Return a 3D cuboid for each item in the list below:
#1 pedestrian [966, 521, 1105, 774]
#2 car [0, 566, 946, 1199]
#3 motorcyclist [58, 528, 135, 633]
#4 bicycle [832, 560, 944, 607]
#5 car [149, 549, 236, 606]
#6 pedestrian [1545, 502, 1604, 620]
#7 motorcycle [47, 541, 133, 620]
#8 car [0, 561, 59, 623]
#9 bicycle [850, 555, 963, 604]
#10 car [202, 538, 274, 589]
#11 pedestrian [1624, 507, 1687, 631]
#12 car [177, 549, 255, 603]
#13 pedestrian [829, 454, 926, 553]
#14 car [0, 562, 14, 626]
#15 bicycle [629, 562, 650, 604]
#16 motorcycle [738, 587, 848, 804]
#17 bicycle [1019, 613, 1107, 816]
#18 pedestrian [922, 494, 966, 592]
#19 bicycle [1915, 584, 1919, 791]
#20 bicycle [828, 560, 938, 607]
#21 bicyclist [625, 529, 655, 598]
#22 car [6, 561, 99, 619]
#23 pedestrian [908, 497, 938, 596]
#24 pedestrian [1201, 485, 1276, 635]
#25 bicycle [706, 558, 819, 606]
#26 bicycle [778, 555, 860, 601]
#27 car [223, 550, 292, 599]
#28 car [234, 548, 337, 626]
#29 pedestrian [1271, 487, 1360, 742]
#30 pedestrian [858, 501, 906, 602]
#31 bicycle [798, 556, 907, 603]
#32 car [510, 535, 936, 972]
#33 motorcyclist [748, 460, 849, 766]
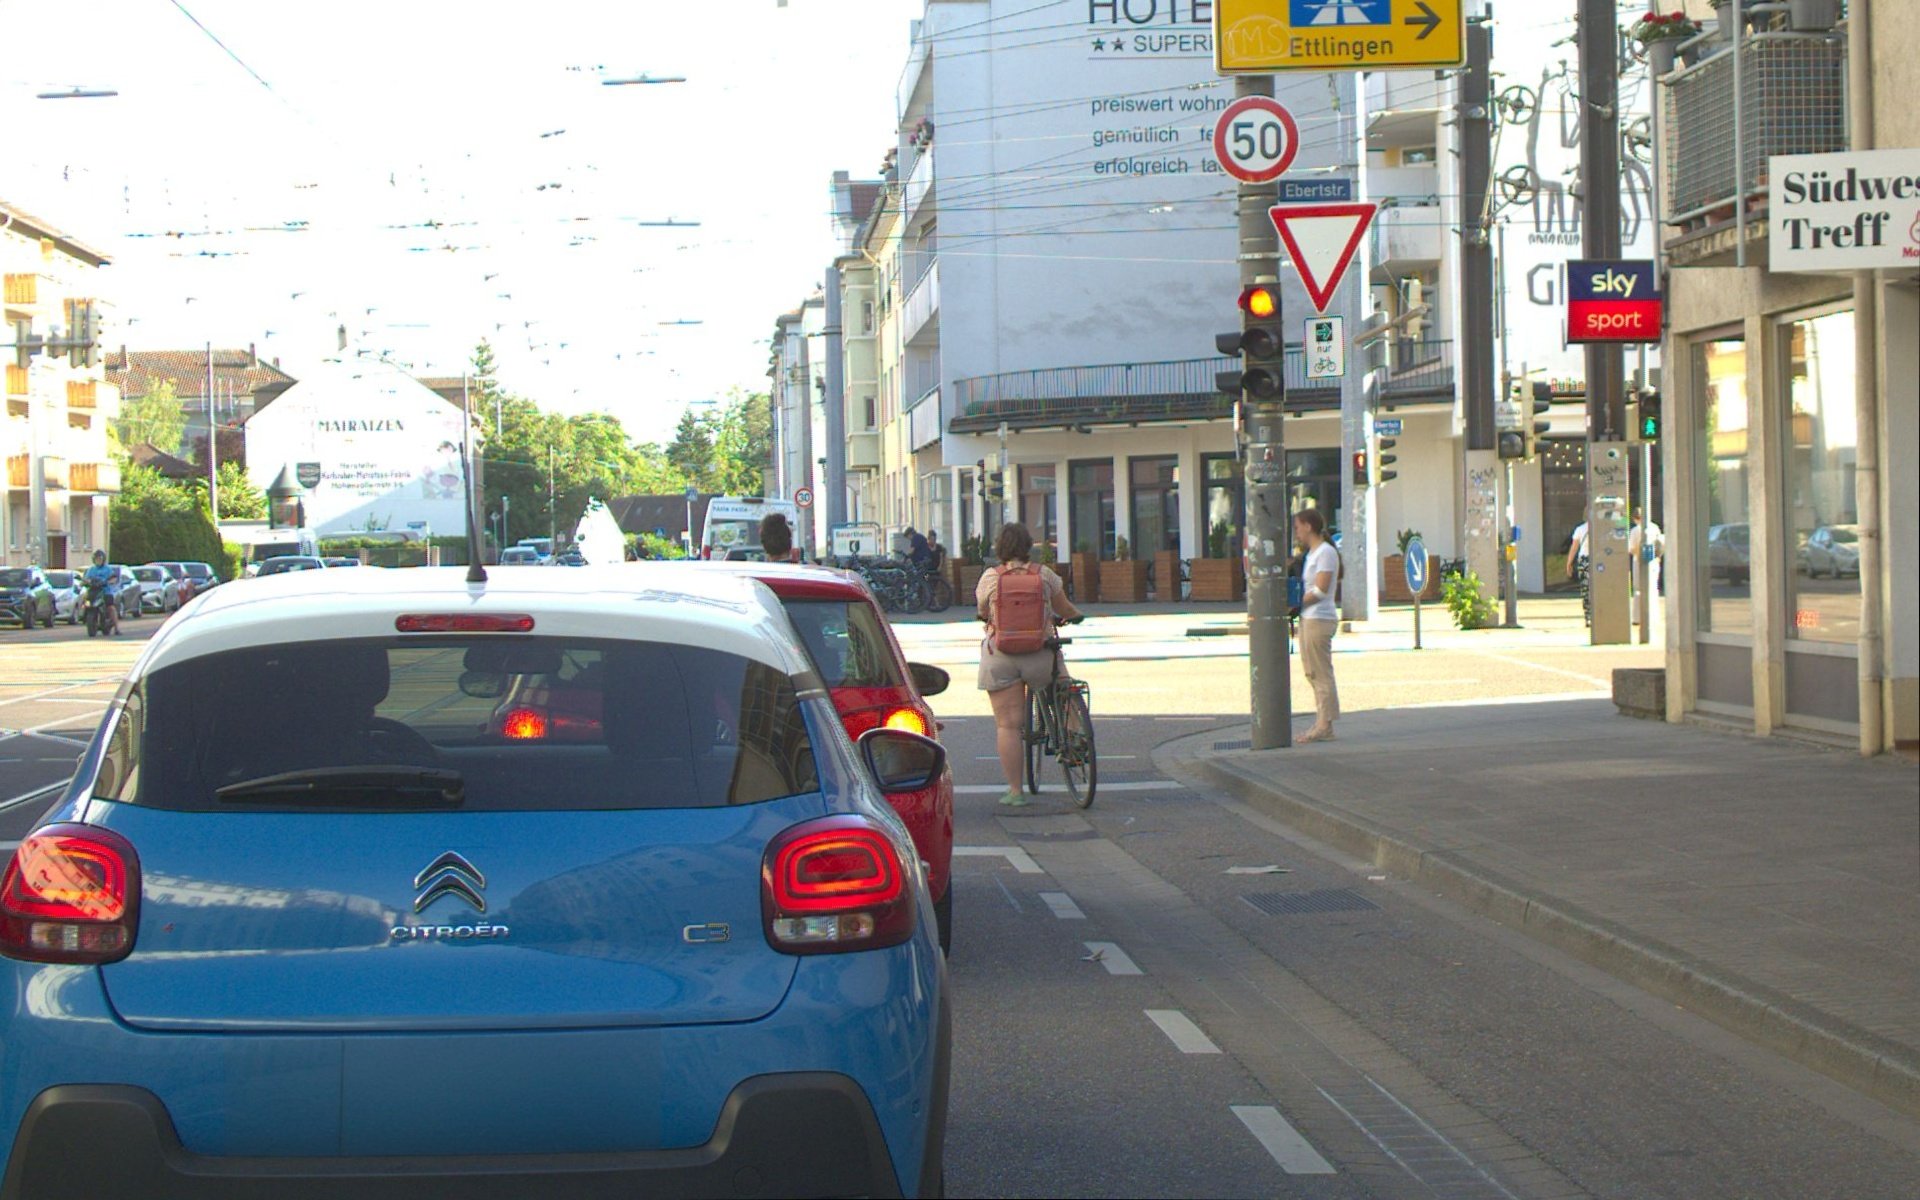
[{"bbox_3d":[0.440,0.273,20.245,0.777,1.455,0.682,1,0,-1],"label":"pedestrian"},{"bbox_3d":[-0.879,0.662,7.175,1.654,1.439,3.523,1,1,-1],"label":"car"},{"bbox_3d":[-16.885,-0.397,67.259,1.185,2.007,1.276,-1,1,-3],"label":"motorcyclist"},{"bbox_3d":[-1.410,-0.326,67.192,2.132,0.898,0.367,1,0,-9],"label":"bicycle"},{"bbox_3d":[-23.699,-0.700,106.303,1.983,1.681,4.001,1,1,-3],"label":"car"},{"bbox_3d":[8.386,-0.530,46.886,0.736,1.595,0.748,1,0,13],"label":"pedestrian"},{"bbox_3d":[-16.910,-0.395,66.907,0.923,1.481,3.726,1,1,-3],"label":"motorcycle"},{"bbox_3d":[-23.857,-0.217,86.043,1.785,1.493,4.001,1,1,-4],"label":"car"},{"bbox_3d":[-1.021,-0.394,65.962,2.132,0.898,0.367,1,0,-9],"label":"bicycle"},{"bbox_3d":[-24.473,-1.244,116.641,1.833,1.681,4.001,1,1,-4],"label":"car"},{"bbox_3d":[9.407,-0.422,46.461,0.752,1.652,0.883,1,0,16],"label":"pedestrian"},{"bbox_3d":[-24.019,-0.787,111.095,1.882,1.681,4.001,1,1,-4],"label":"car"},{"bbox_3d":[-1.747,-2.036,73.550,1.993,2.007,4.000,1,1,-1],"label":"pedestrian"},{"bbox_3d":[-23.215,-0.140,79.245,1.787,1.506,4.150,1,1,-2],"label":"car"},{"bbox_3d":[-6.865,-0.368,73.606,0.349,0.900,1.859,1,1,-3],"label":"bicycle"},{"bbox_3d":[-0.927,0.503,19.456,0.526,1.136,2.290,1,1,-1],"label":"motorcycle"},{"bbox_3d":[0.601,0.656,20.537,0.427,1.119,1.998,1,1,-1],"label":"bicycle"},{"bbox_3d":[-0.336,-1.167,70.872,0.709,2.007,0.760,1,0,-14],"label":"pedestrian"},{"bbox_3d":[4.901,0.432,15.760,0.542,0.995,1.706,1,1,-1],"label":"bicycle"},{"bbox_3d":[-1.519,-0.321,67.622,2.132,0.898,0.367,1,0,-9],"label":"bicycle"},{"bbox_3d":[-6.872,-0.782,73.801,0.561,1.472,0.748,1,0,-1],"label":"bicyclist"},{"bbox_3d":[-24.291,-0.285,92.111,1.732,1.493,4.001,1,1,-5],"label":"car"},{"bbox_3d":[-0.759,-1.086,70.179,0.577,2.007,0.626,1,0,-3],"label":"pedestrian"},{"bbox_3d":[3.804,-0.545,46.954,0.926,2.007,0.759,1,0,-1],"label":"pedestrian"},{"bbox_3d":[-3.810,-0.351,66.248,2.132,0.898,0.367,1,0,-9],"label":"bicycle"},{"bbox_3d":[-2.848,-0.442,69.447,1.785,0.898,0.366,1,1,34],"label":"bicycle"},{"bbox_3d":[-24.749,-0.899,121.237,1.846,1.681,3.875,1,1,-4],"label":"car"},{"bbox_3d":[-14.962,-0.310,76.398,1.774,1.660,3.857,1,1,-4],"label":"car"},{"bbox_3d":[2.512,0.097,24.318,0.517,1.777,0.595,1,0,-2],"label":"pedestrian"},{"bbox_3d":[-1.574,-0.979,69.177,0.630,2.007,0.724,1,0,-36],"label":"pedestrian"},{"bbox_3d":[-2.132,-0.409,68.355,2.132,0.898,0.367,1,0,-9],"label":"bicycle"},{"bbox_3d":[-0.826,0.513,13.223,1.424,1.462,2.924,-1,0,-1],"label":"car"},{"bbox_3d":[-0.919,0.068,19.639,0.526,1.710,0.717,1,0,-1],"label":"motorcyclist"}]
